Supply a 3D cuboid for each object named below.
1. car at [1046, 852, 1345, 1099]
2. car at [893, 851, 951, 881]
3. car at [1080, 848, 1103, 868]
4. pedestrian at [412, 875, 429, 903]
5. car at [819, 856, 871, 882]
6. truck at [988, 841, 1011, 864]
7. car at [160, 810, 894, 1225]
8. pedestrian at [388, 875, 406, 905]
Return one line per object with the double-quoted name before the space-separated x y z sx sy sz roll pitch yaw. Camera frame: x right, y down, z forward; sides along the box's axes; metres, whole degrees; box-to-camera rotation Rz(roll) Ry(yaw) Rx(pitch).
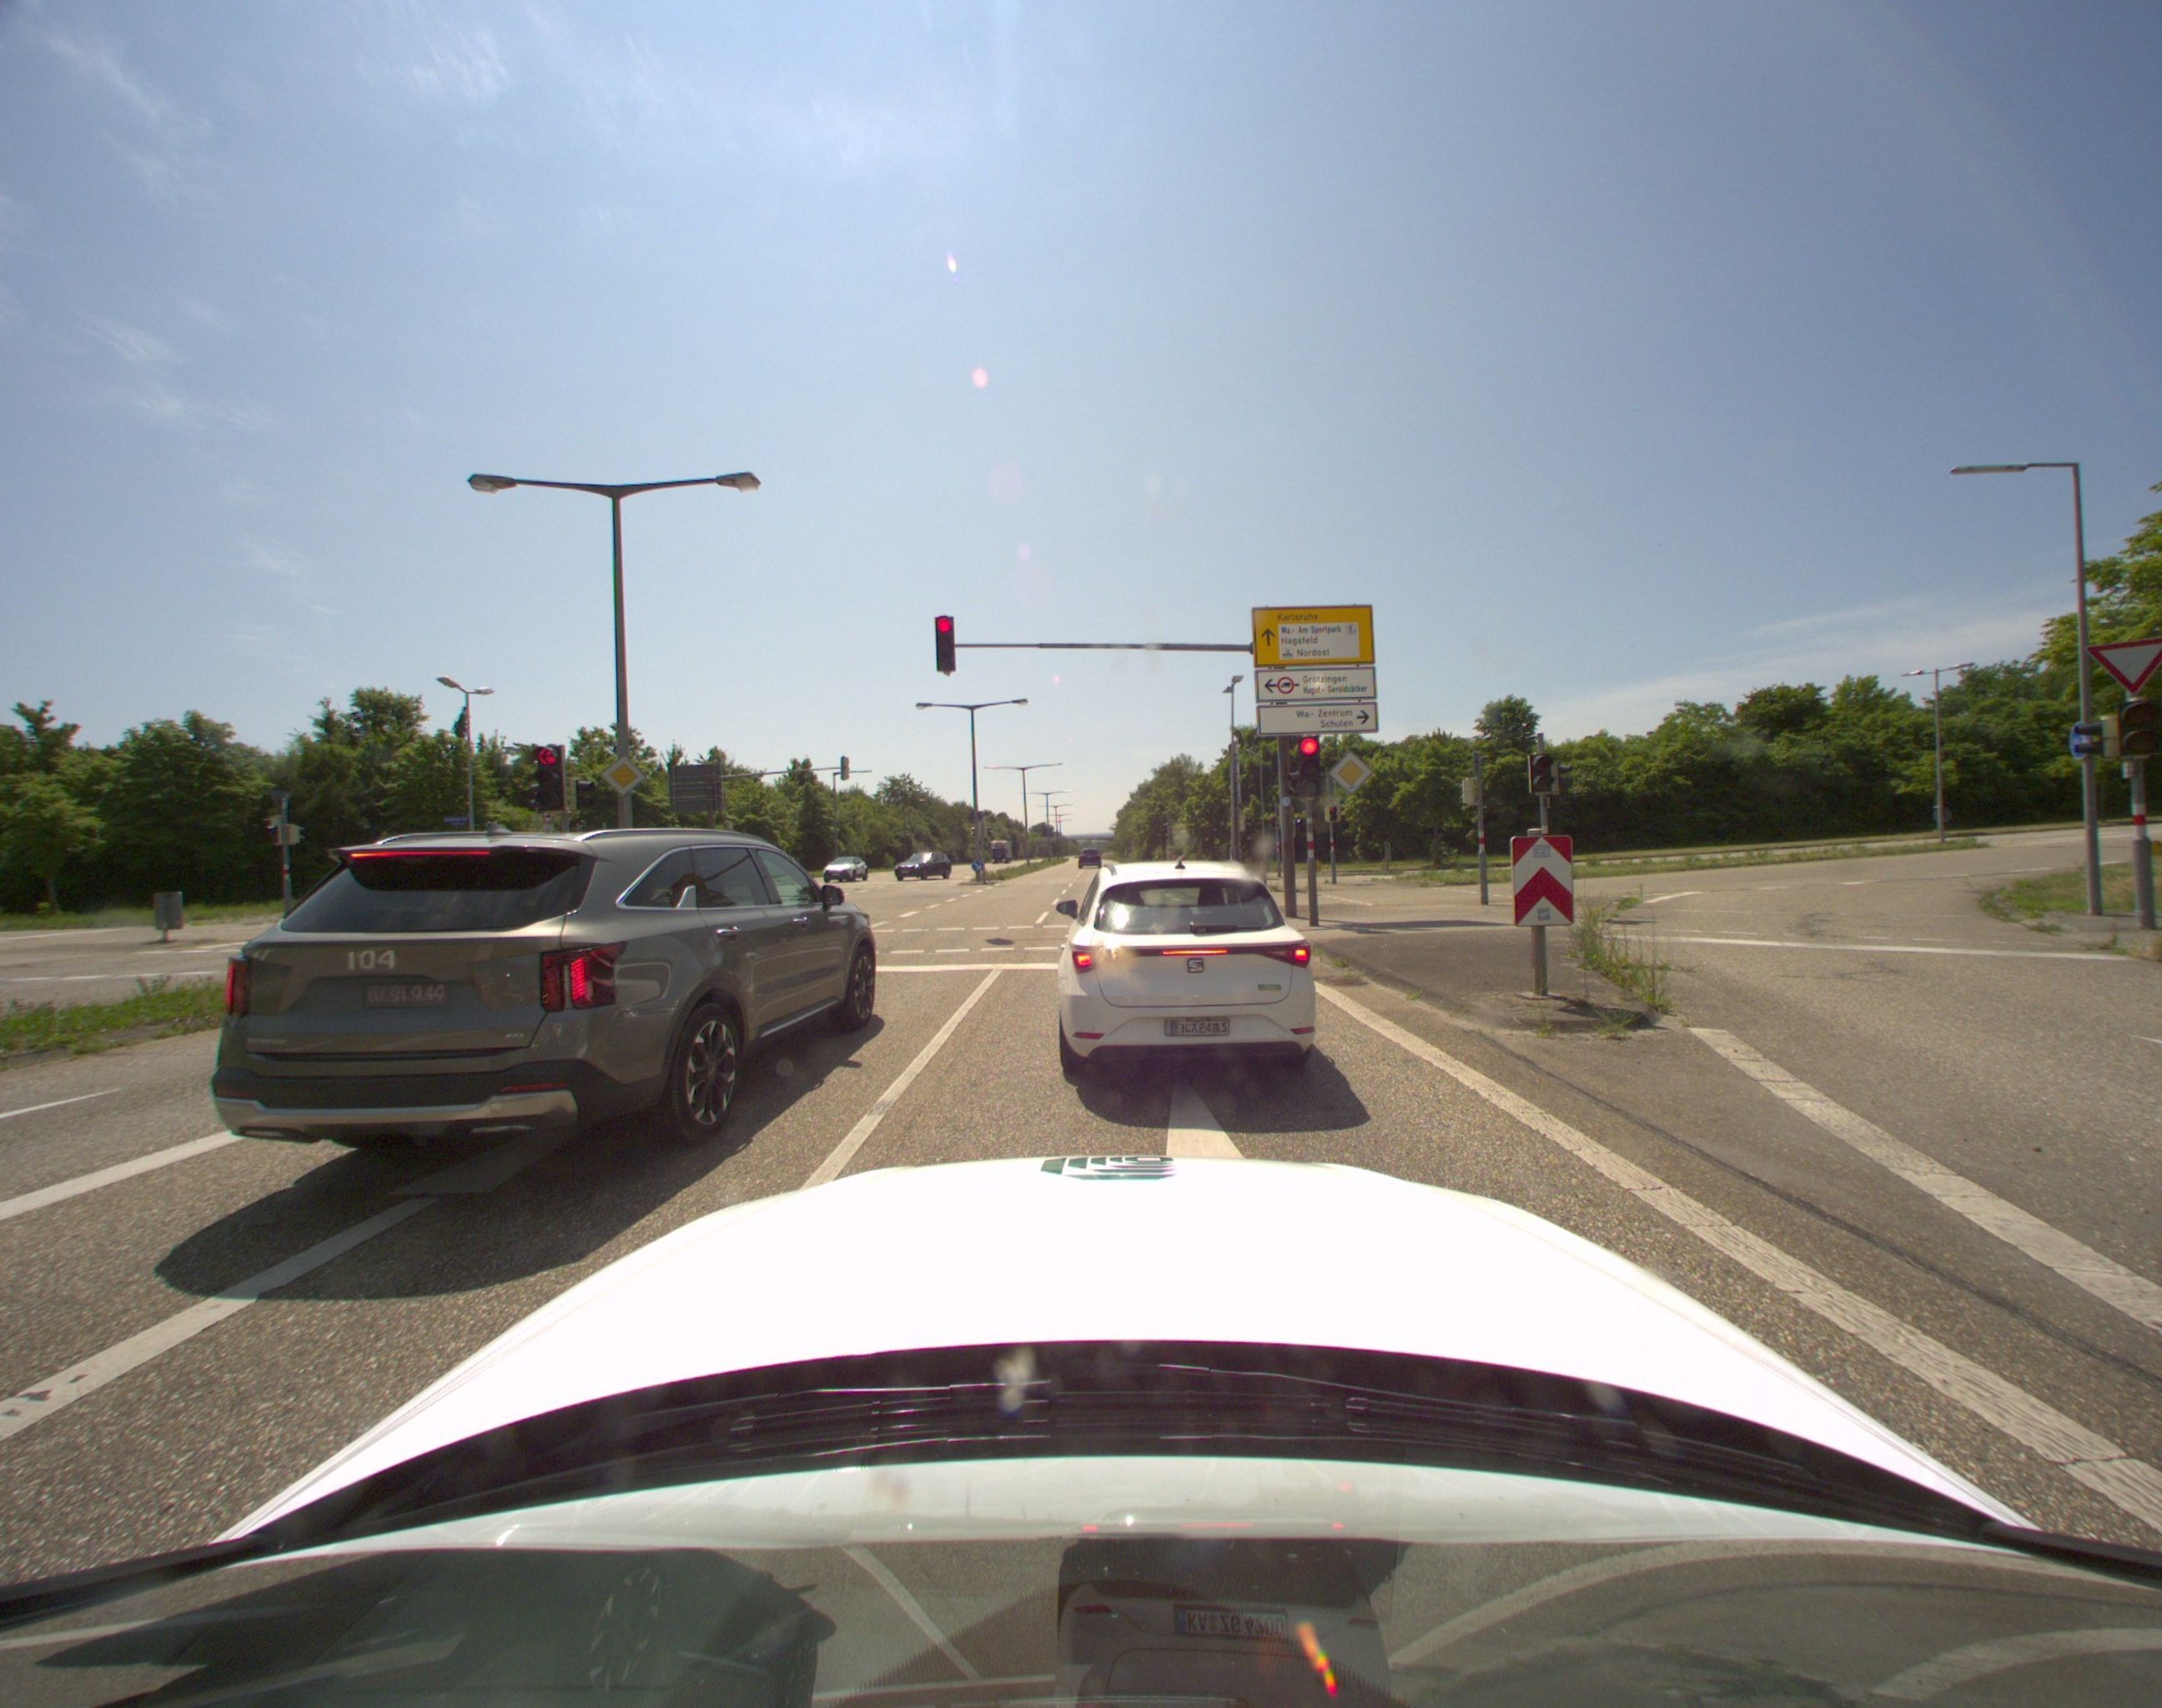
"car" 0.723 0.725 6.594 1.728 1.428 3.696 0 -1 2
"car" -9.812 0.721 50.598 1.693 1.663 4.242 -2 0 17
"car" 0.984 0.313 73.845 1.847 1.709 4.004 -2 0 4
"pedestrian" -36.659 1.947 45.182 0.620 1.503 0.790 -2 0 -34
"car" -14.710 0.915 50.942 1.815 1.455 4.171 -2 0 2
"truck" -12.830 -0.239 129.026 2.677 3.570 7.269 -2 0 1
"car" -2.837 0.682 5.697 1.797 1.662 4.646 -2 0 2
"pedestrian" -37.509 1.968 44.655 0.620 1.603 0.790 -2 0 -34
